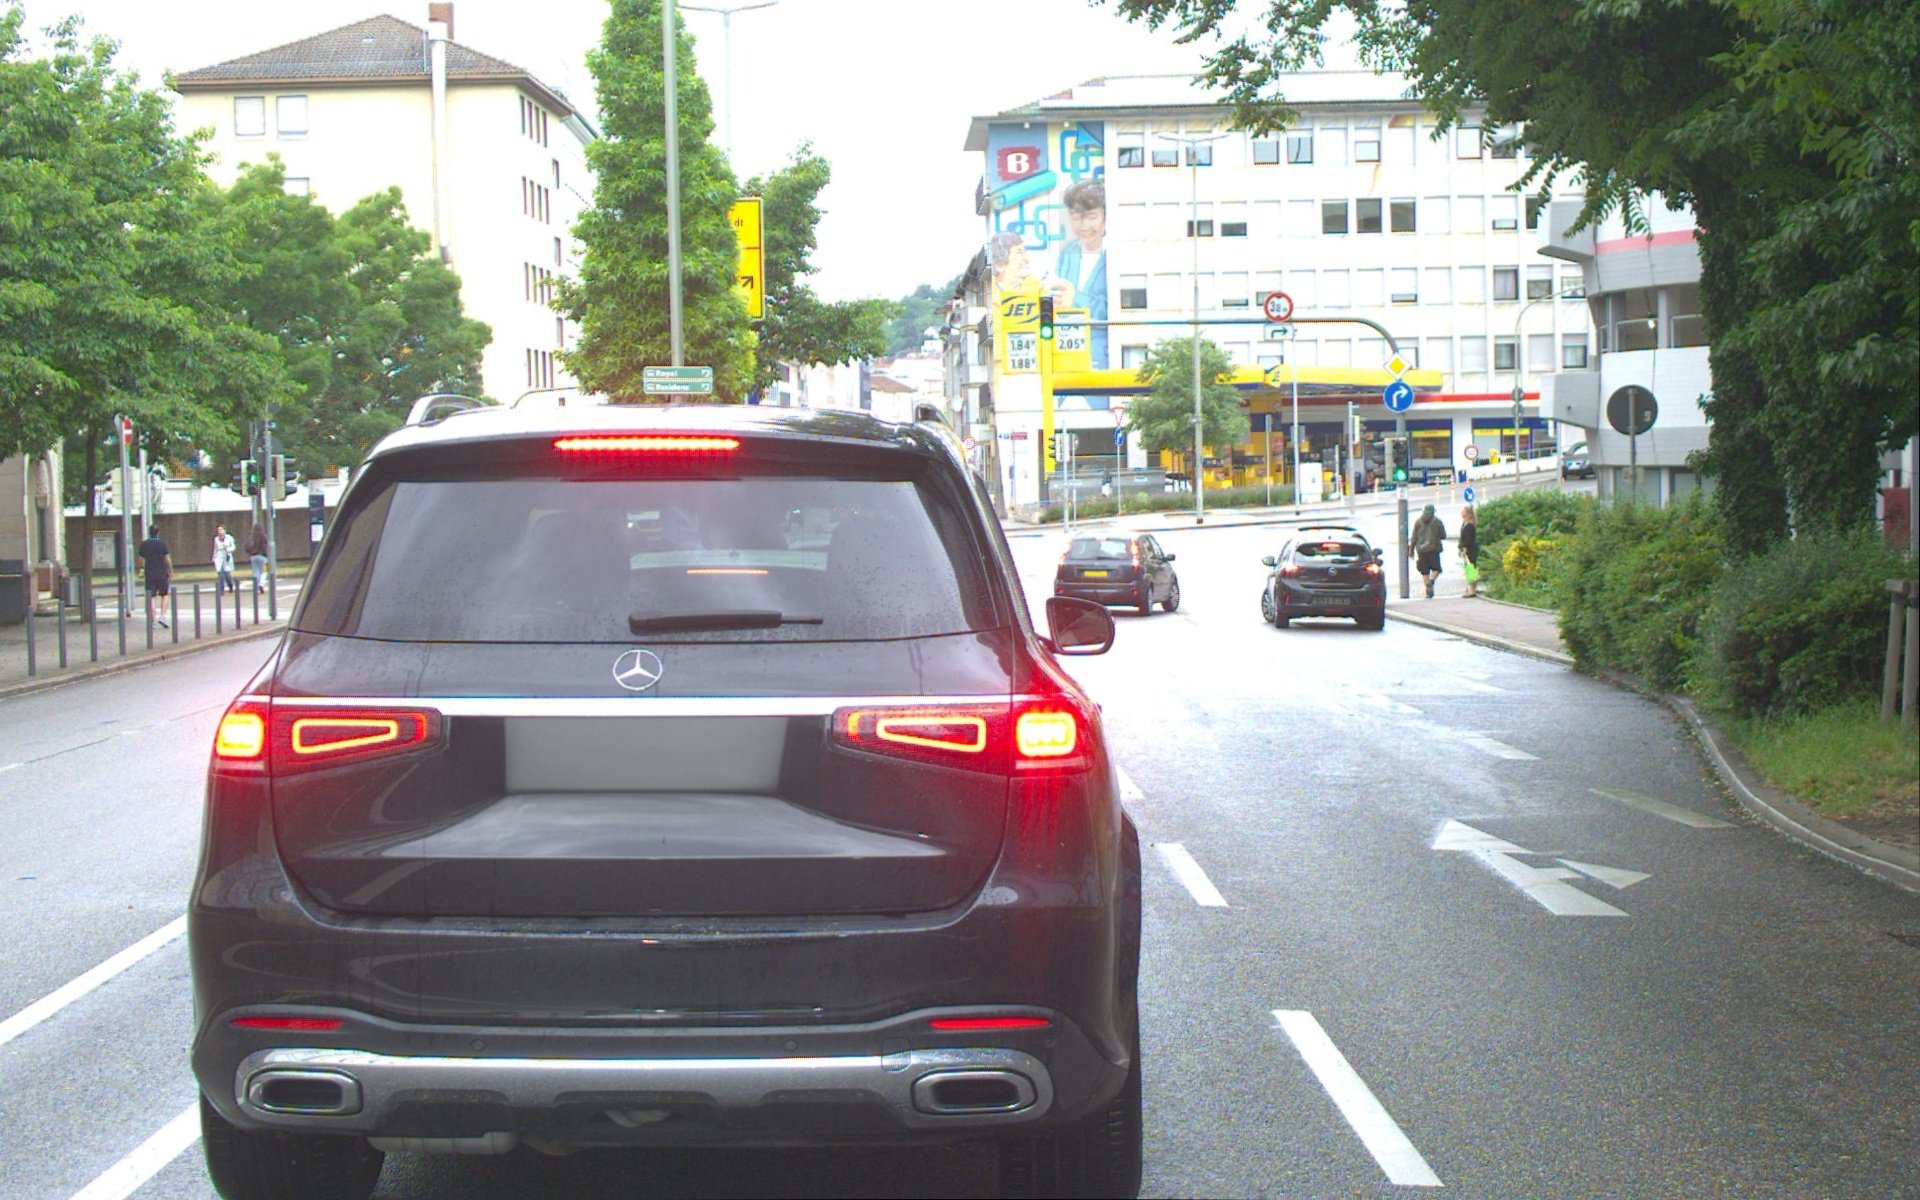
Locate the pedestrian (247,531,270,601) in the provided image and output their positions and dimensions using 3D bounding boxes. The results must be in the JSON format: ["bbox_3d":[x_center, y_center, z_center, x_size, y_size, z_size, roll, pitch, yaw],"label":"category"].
[{"bbox_3d":[-16.598,-0.795,81.350,0.399,1.639,0.567,1,0,-1],"label":"pedestrian"}]

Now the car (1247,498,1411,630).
[{"bbox_3d":[5.804,-0.603,54.511,1.993,2.007,4.001,0,1,-2],"label":"car"}]

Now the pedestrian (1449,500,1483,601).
[{"bbox_3d":[9.614,-0.938,65.362,0.519,1.904,0.556,1,0,-1],"label":"pedestrian"}]

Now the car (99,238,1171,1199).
[{"bbox_3d":[-0.679,0.322,8.494,1.993,2.007,4.000,1,0,-2],"label":"car"}]

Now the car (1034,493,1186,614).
[{"bbox_3d":[2.565,-0.794,59.802,1.993,2.007,4.001,1,0,-7],"label":"car"}]

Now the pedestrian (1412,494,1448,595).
[{"bbox_3d":[9.062,-1.080,66.296,0.620,1.929,0.610,1,1,4],"label":"pedestrian"}]

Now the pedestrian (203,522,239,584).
[{"bbox_3d":[-17.582,-1.112,81.790,0.711,1.457,0.598,1,0,-2],"label":"pedestrian"}]

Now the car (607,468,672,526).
[{"bbox_3d":[-11.297,-3.618,121.479,1.993,1.868,5.142,1,0,-2],"label":"car"}]

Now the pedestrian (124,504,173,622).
[{"bbox_3d":[-14.009,-0.640,59.369,0.587,2.007,0.749,3,1,-2],"label":"pedestrian"}]
